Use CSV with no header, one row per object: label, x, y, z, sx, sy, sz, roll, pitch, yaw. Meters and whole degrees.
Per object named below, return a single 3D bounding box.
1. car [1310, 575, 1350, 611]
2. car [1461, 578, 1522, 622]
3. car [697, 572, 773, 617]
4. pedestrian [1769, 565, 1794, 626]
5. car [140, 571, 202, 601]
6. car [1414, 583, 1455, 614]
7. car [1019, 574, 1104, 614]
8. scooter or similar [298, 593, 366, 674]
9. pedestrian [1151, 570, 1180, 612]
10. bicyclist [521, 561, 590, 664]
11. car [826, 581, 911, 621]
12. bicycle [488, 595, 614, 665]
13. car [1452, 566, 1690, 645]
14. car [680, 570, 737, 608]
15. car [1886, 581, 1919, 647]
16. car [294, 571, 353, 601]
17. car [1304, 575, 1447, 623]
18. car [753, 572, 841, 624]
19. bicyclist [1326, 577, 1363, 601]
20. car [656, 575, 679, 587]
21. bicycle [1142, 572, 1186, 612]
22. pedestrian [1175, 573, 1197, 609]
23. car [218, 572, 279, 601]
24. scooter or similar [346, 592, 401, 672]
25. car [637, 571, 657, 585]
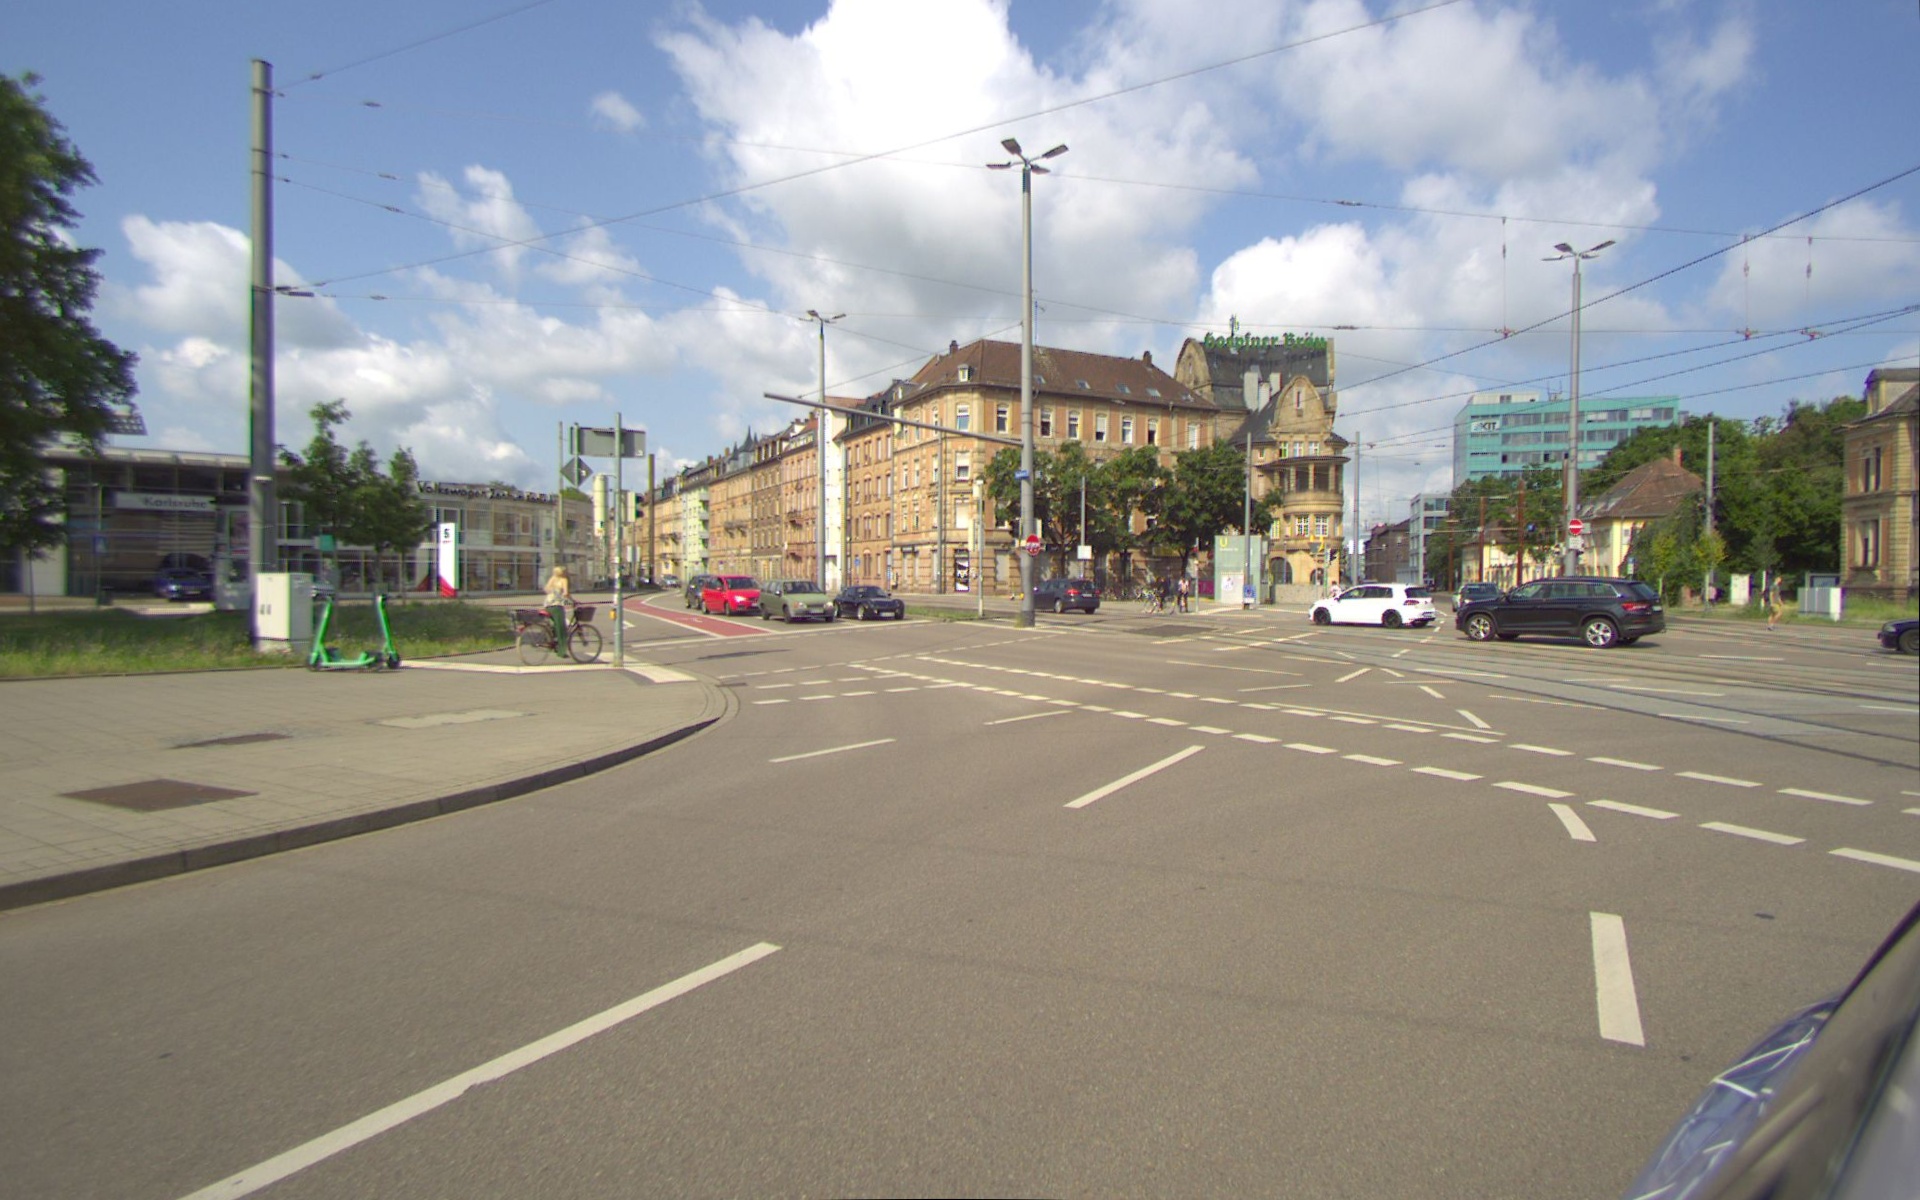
car,18.847,-0.374,51.484,1.735,1.620,3.971,0,3,23
car,24.281,-0.037,46.347,1.976,1.760,4.312,0,3,21
car,-8.684,-0.278,38.815,1.959,1.537,4.008,-2,3,-25
pedestrian,28.207,-0.167,34.748,0.657,2.038,0.640,1,3,40
car,-40.075,-0.740,51.368,3.987,1.463,1.896,2,2,43
car,26.625,-0.118,56.882,1.894,1.526,3.972,0,3,22
car,4.319,-0.316,43.611,1.736,1.547,4.264,-1,3,-25
scooter or similar,-9.613,0.497,15.511,0.375,1.172,0.928,2,1,4
pedestrian,9.494,-0.417,46.825,0.974,1.863,0.998,-2,2,-15
bicyclist,-7.165,0.212,17.946,0.705,1.767,0.819,2,-1,28
car,-3.185,0.001,34.699,1.593,1.175,4.008,-2,3,-25
bicycle,-7.207,0.529,17.937,0.782,1.142,1.971,2,-1,29
car,15.092,0.057,25.234,1.964,1.688,4.680,0,3,-40
car,-11.717,-0.540,46.977,1.959,1.571,4.009,-2,3,-22
car,22.713,0.393,21.291,1.964,1.415,4.506,-1,3,-39
car,-35.896,-0.815,57.035,3.987,1.571,1.896,2,3,43
car,13.730,-0.051,33.660,1.652,1.464,4.233,-1,1,-33
car,-5.494,-0.135,33.726,1.789,1.531,4.008,-2,3,-25
bicyclist,17.062,-0.482,44.880,0.976,1.040,1.213,-2,0,-42
car,-33.011,-2.180,114.128,1.959,1.348,4.008,0,1,-24
bicycle,9.439,-0.379,46.911,0.988,1.746,2.475,-2,3,-15
pedestrian,10.674,-0.424,47.791,0.705,1.662,0.786,3,2,37
car,-37.663,-0.759,53.553,3.987,1.463,1.896,2,2,43
scooter or similar,-9.051,0.479,15.637,0.374,1.172,0.931,2,1,-7
car,-39.661,-2.739,128.203,1.749,1.727,4.007,0,1,-26
